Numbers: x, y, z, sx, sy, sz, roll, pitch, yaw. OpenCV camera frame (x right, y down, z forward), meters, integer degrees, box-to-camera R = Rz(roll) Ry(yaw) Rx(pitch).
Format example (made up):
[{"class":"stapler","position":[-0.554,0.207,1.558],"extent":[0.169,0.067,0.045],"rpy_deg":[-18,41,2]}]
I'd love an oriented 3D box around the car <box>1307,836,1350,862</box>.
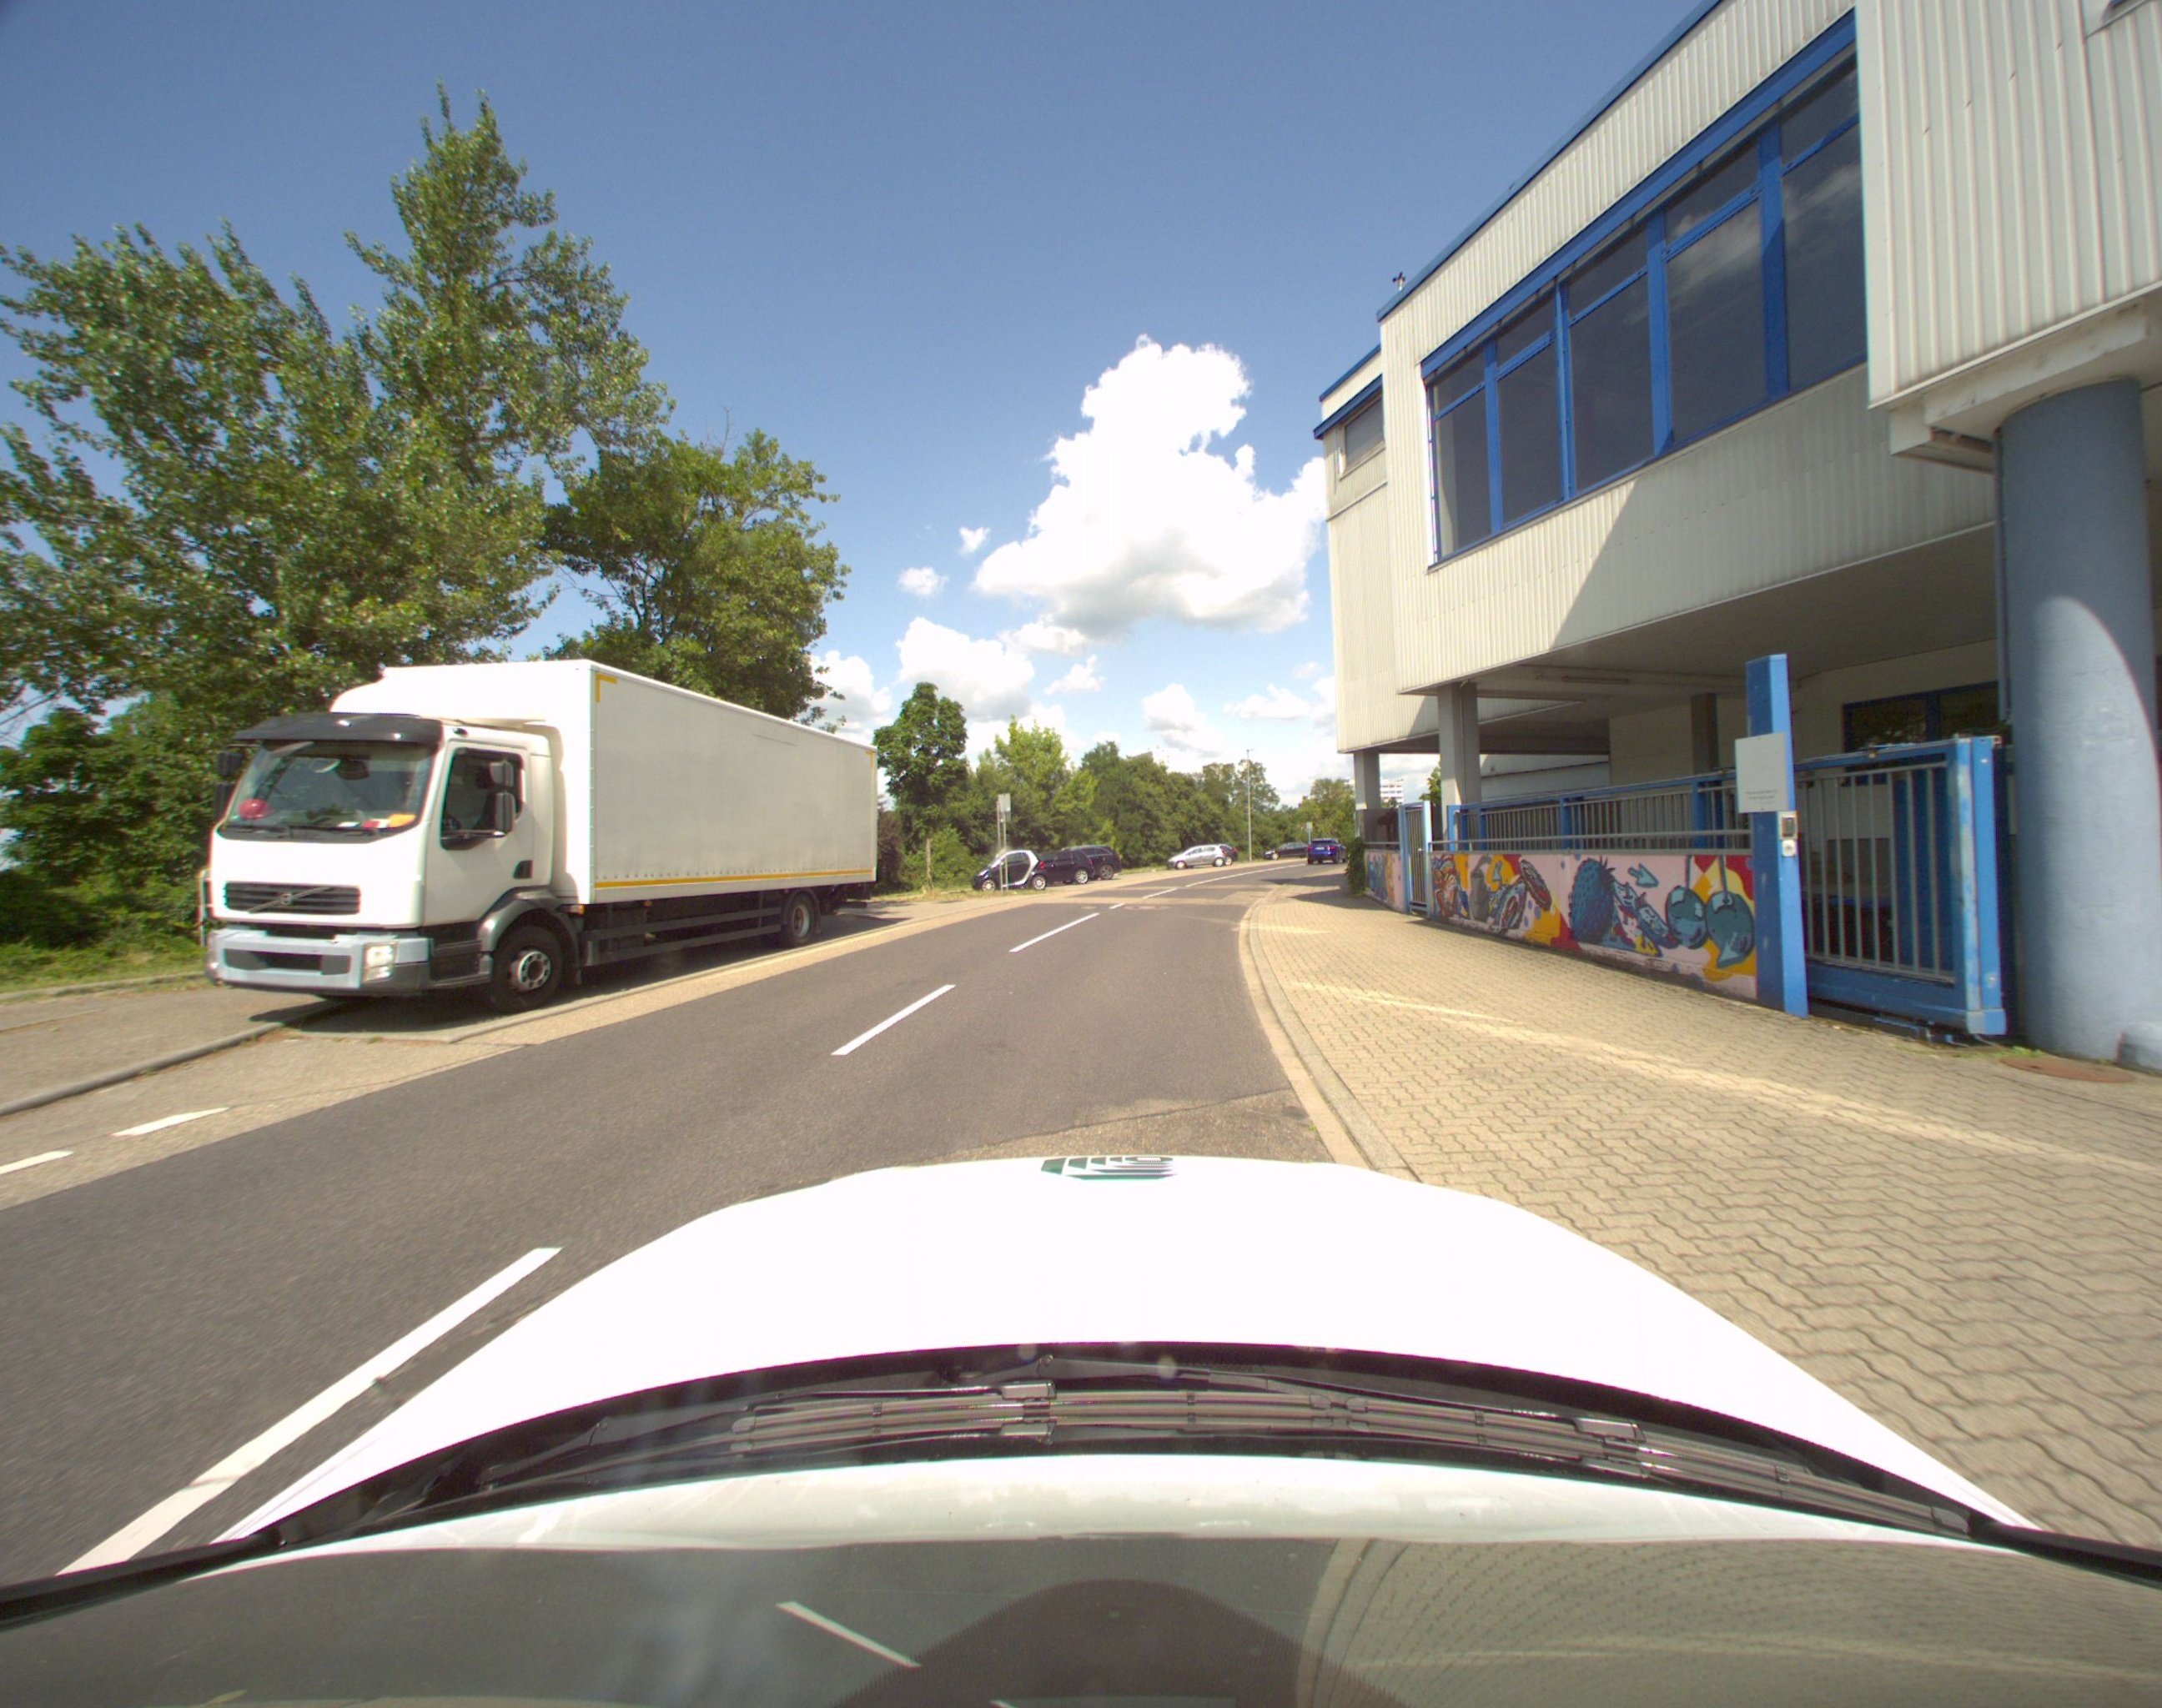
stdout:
[{"class":"car","position":[16.089,-0.315,52.836],"extent":[1.892,1.593,4.729],"rpy_deg":[-2,-1,26]}]

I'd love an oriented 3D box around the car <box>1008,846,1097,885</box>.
[{"class":"car","position":[-1.192,0.453,34.105],"extent":[3.339,1.475,1.690],"rpy_deg":[-2,0,-25]}]

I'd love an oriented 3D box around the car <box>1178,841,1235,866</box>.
[{"class":"car","position":[8.567,-0.033,55.695],"extent":[3.568,1.570,1.741],"rpy_deg":[-2,-1,-2]}]

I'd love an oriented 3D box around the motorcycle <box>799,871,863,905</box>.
[{"class":"motorcycle","position":[-8.813,1.180,28.792],"extent":[0.733,1.085,2.265],"rpy_deg":[-2,0,28]}]

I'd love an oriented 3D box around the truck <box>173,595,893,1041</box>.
[{"class":"truck","position":[-5.662,-0.349,11.328],"extent":[2.306,3.567,9.395],"rpy_deg":[-1,1,11]}]

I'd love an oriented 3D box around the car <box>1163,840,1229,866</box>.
[{"class":"car","position":[7.540,-0.048,53.462],"extent":[4.034,1.570,1.741],"rpy_deg":[-2,-1,-2]}]

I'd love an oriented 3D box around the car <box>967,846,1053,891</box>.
[{"class":"car","position":[-2.694,0.540,30.631],"extent":[2.904,1.570,1.879],"rpy_deg":[-2,-1,-17]}]

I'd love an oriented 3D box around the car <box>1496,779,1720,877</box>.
[{"class":"car","position":[11.529,-0.515,18.100],"extent":[3.689,2.014,2.006],"rpy_deg":[0,-1,10]}]

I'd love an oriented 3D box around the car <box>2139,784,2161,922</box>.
[{"class":"car","position":[13.073,0.049,8.651],"extent":[1.650,1.658,3.686],"rpy_deg":[0,3,43]}]

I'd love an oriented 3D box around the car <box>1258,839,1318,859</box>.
[{"class":"car","position":[18.522,-0.443,72.922],"extent":[4.868,1.570,1.741],"rpy_deg":[-2,-1,-2]}]

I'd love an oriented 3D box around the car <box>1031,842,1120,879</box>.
[{"class":"car","position":[-0.265,0.316,37.571],"extent":[3.644,1.570,1.875],"rpy_deg":[-2,-1,-24]}]
